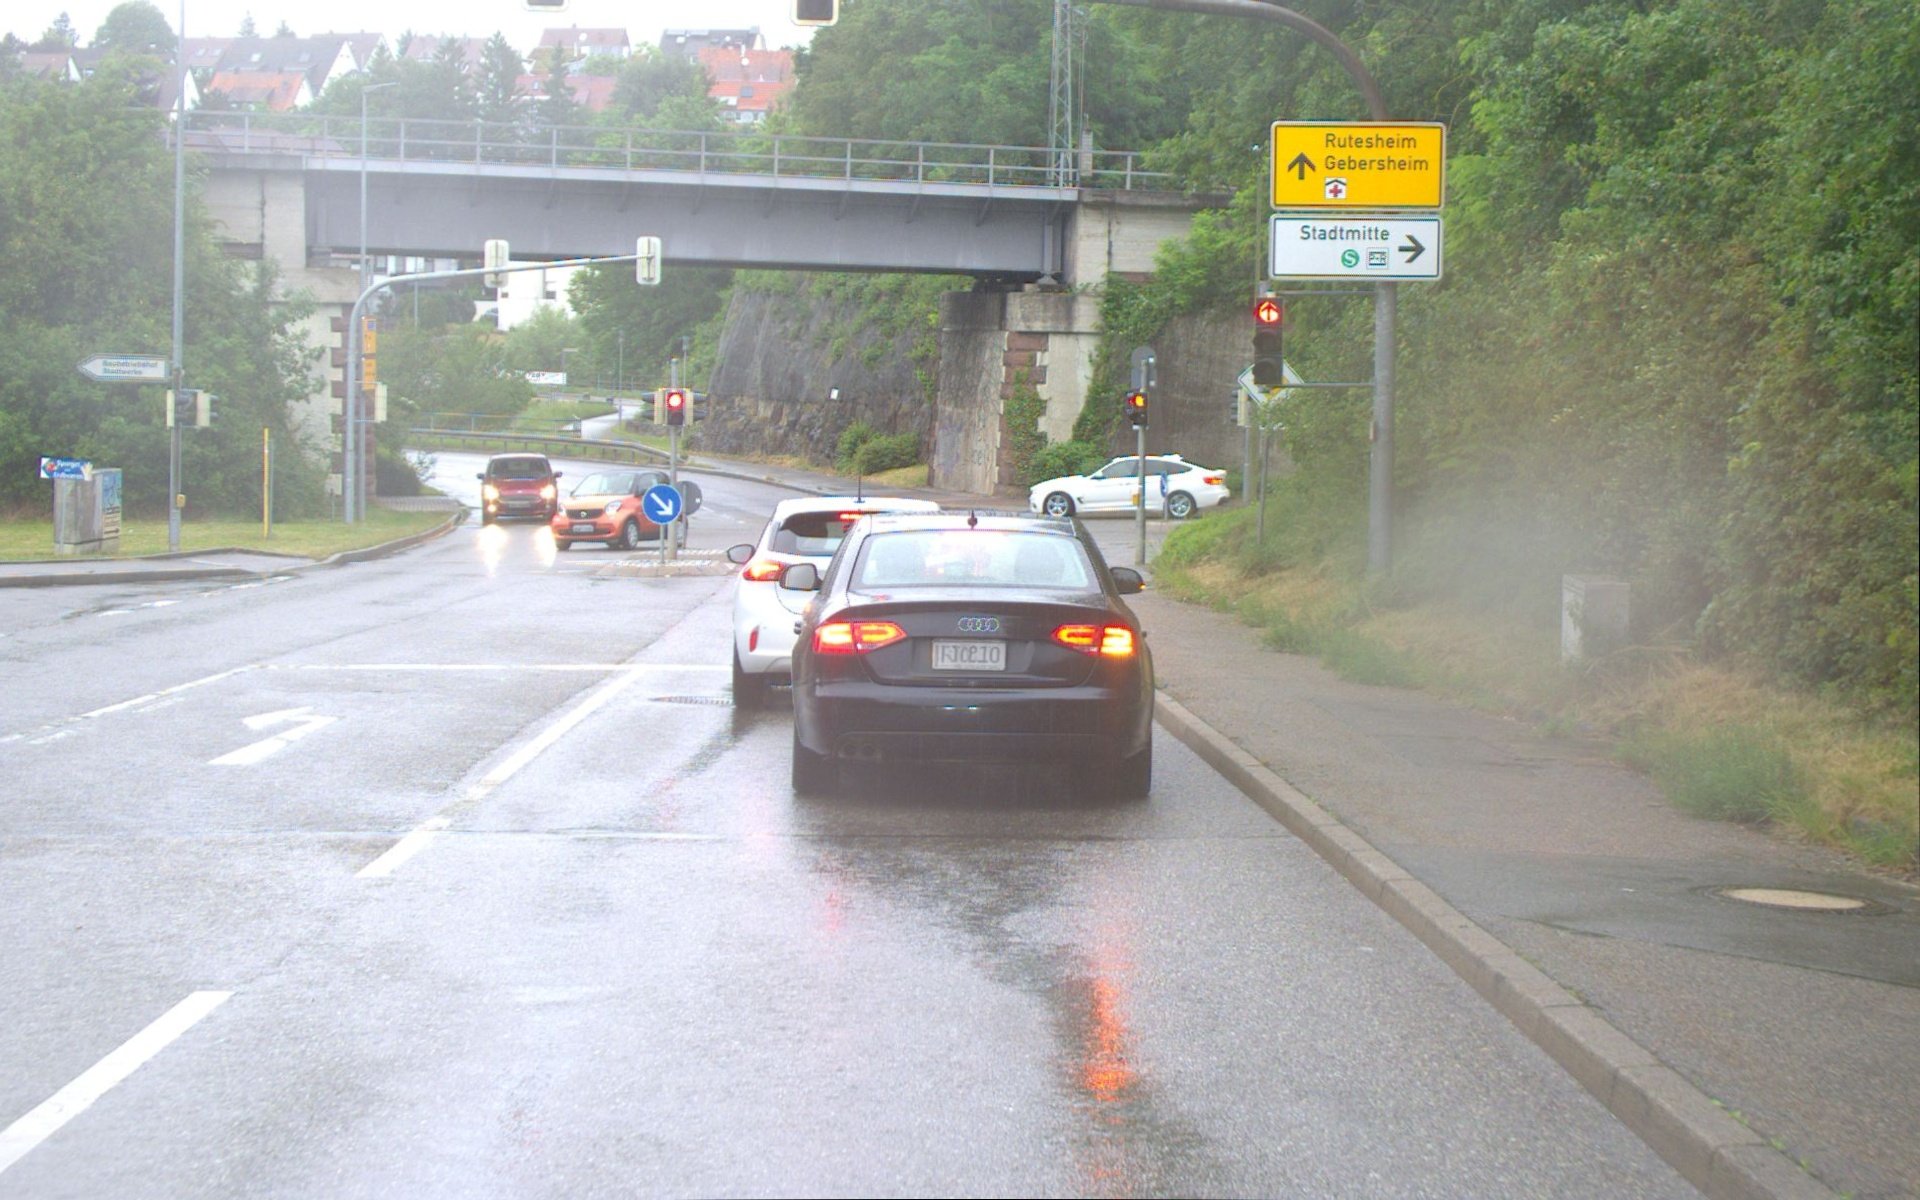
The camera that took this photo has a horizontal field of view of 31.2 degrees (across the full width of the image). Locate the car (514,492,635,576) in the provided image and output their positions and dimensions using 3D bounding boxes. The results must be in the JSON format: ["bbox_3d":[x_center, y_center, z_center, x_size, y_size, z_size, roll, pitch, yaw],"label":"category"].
[{"bbox_3d":[-7.546,-1.291,67.546,1.993,1.579,4.000,0,1,-1],"label":"car"}]

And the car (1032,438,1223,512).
[{"bbox_3d":[4.059,-3.009,82.945,4.467,1.736,1.810,0,1,8],"label":"car"}]

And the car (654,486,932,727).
[{"bbox_3d":[-1.137,0.015,24.631,1.823,1.579,4.000,0,1,-1],"label":"car"}]

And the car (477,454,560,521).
[{"bbox_3d":[-11.022,-2.823,85.810,1.993,1.622,4.001,-1,2,-8],"label":"car"}]

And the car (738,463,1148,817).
[{"bbox_3d":[-0.114,0.112,17.919,1.870,1.611,4.001,1,2,-1],"label":"car"}]
